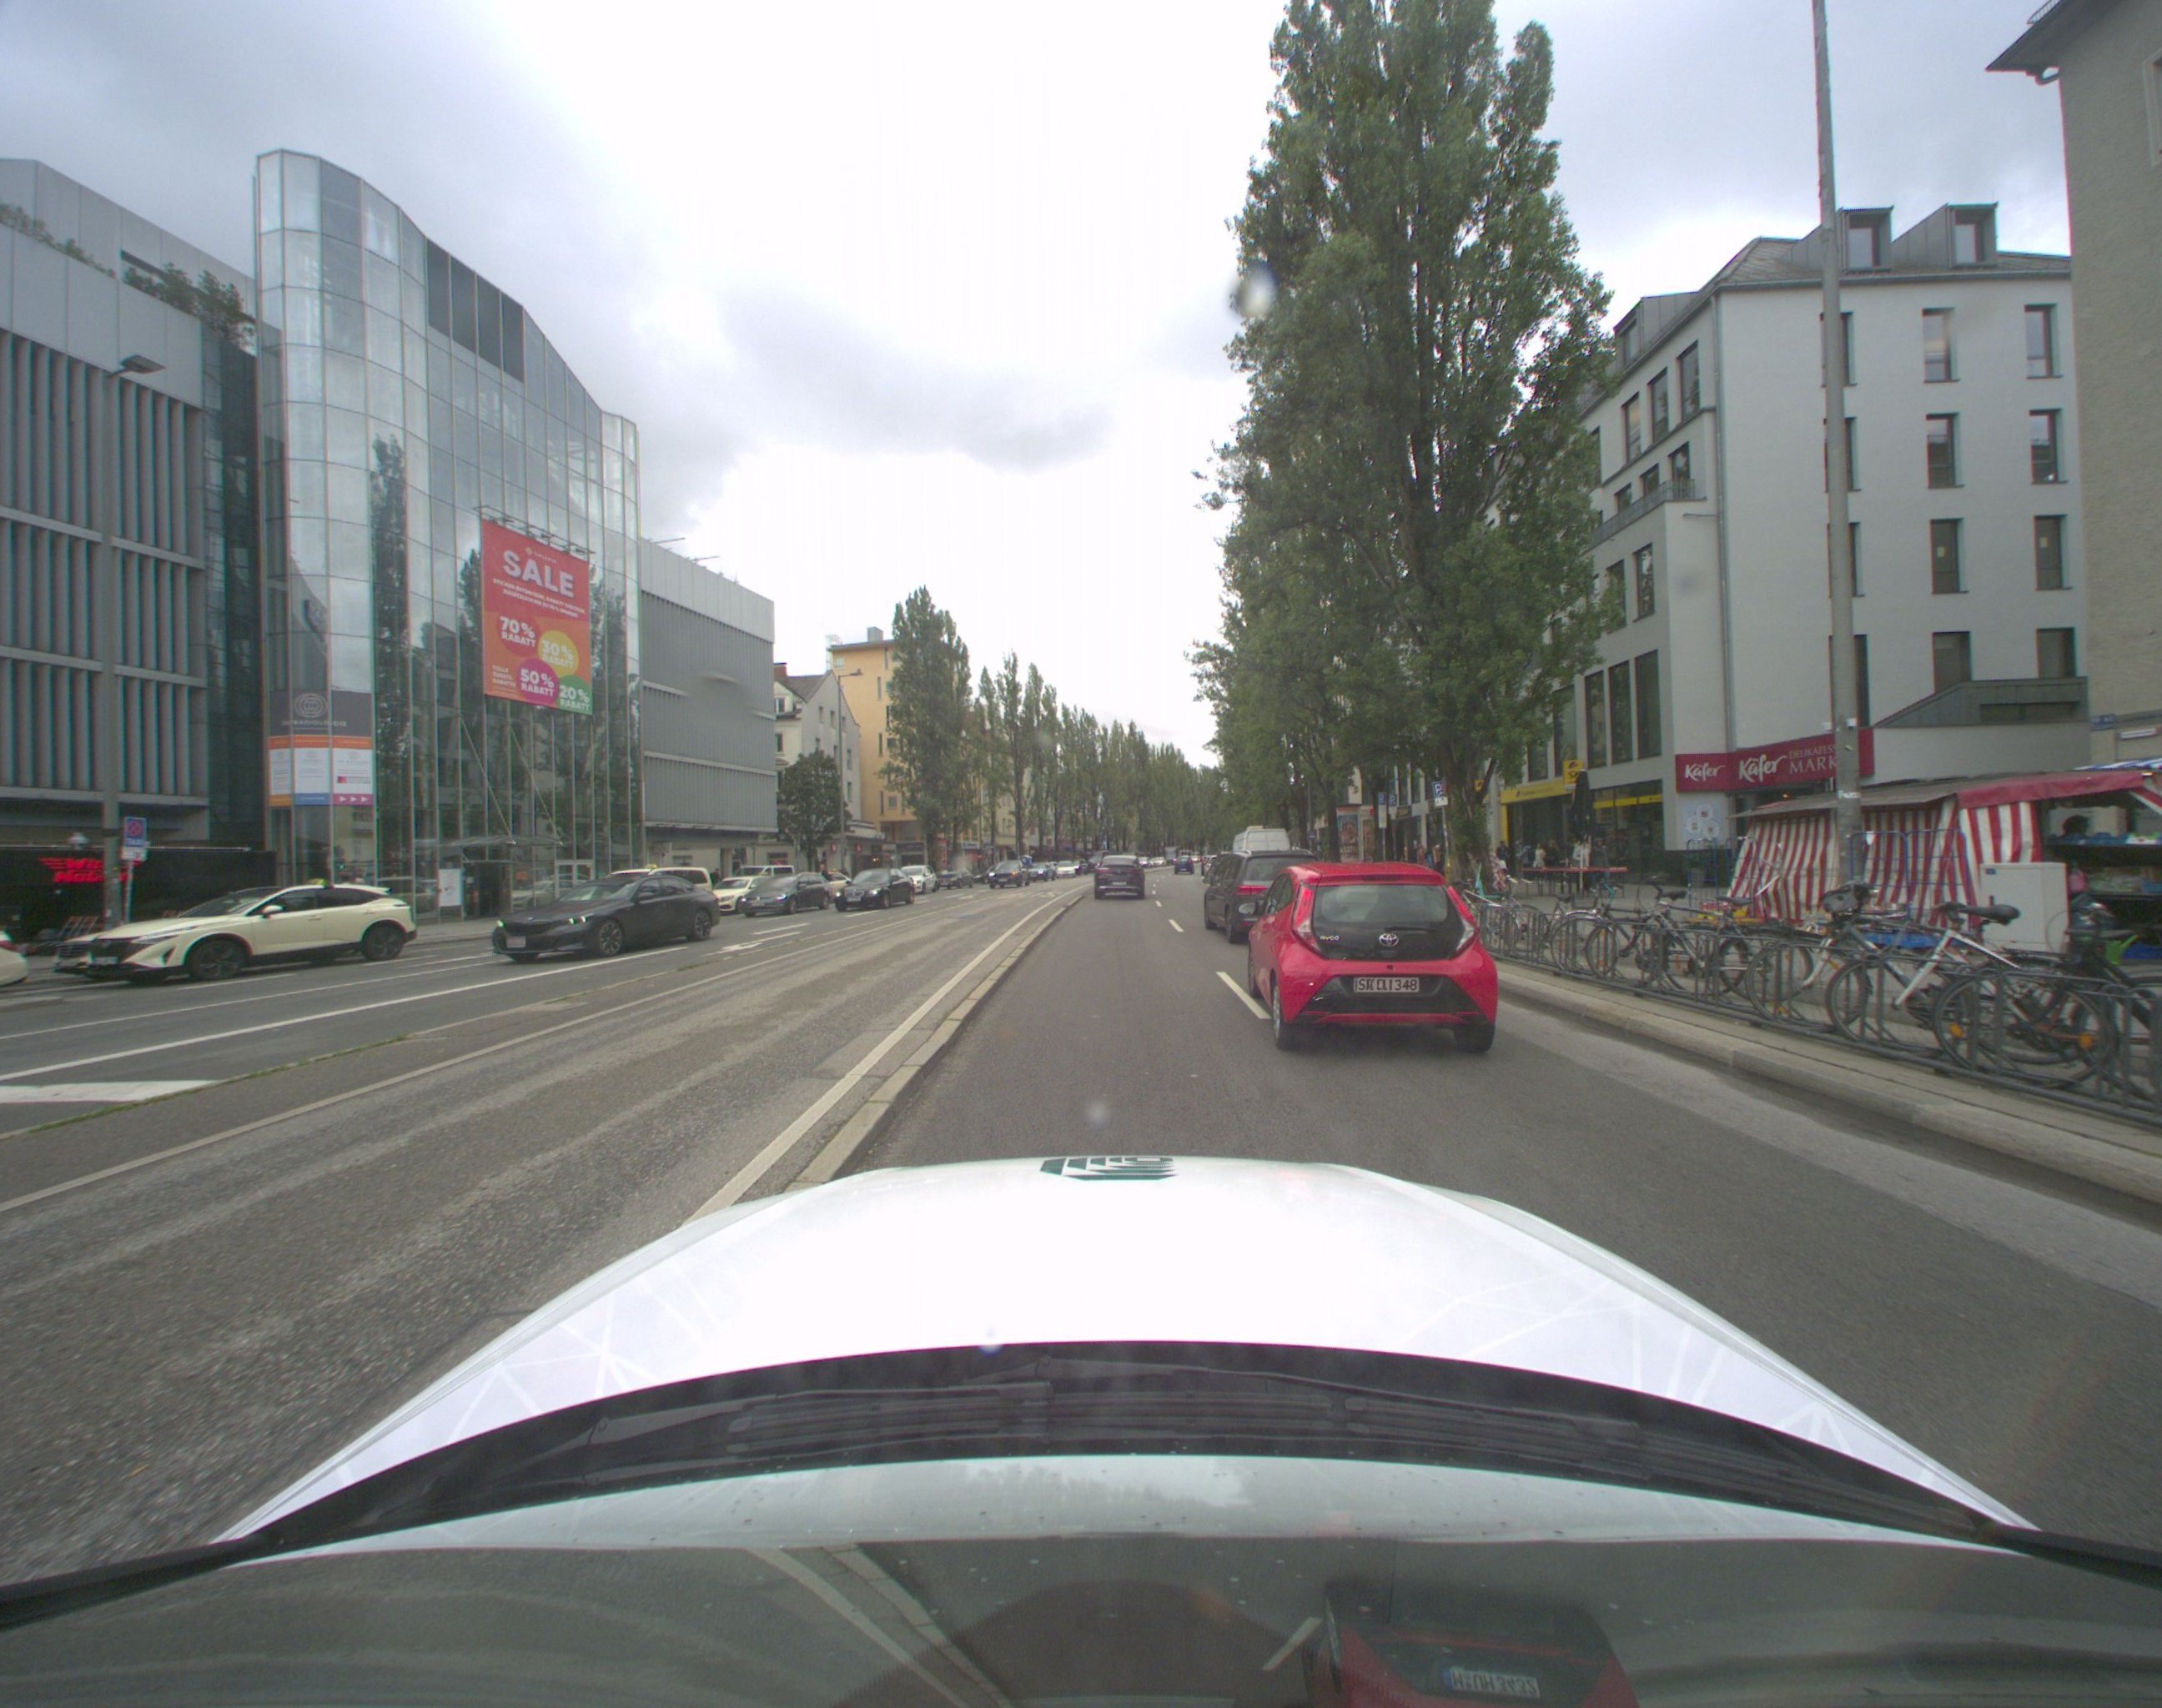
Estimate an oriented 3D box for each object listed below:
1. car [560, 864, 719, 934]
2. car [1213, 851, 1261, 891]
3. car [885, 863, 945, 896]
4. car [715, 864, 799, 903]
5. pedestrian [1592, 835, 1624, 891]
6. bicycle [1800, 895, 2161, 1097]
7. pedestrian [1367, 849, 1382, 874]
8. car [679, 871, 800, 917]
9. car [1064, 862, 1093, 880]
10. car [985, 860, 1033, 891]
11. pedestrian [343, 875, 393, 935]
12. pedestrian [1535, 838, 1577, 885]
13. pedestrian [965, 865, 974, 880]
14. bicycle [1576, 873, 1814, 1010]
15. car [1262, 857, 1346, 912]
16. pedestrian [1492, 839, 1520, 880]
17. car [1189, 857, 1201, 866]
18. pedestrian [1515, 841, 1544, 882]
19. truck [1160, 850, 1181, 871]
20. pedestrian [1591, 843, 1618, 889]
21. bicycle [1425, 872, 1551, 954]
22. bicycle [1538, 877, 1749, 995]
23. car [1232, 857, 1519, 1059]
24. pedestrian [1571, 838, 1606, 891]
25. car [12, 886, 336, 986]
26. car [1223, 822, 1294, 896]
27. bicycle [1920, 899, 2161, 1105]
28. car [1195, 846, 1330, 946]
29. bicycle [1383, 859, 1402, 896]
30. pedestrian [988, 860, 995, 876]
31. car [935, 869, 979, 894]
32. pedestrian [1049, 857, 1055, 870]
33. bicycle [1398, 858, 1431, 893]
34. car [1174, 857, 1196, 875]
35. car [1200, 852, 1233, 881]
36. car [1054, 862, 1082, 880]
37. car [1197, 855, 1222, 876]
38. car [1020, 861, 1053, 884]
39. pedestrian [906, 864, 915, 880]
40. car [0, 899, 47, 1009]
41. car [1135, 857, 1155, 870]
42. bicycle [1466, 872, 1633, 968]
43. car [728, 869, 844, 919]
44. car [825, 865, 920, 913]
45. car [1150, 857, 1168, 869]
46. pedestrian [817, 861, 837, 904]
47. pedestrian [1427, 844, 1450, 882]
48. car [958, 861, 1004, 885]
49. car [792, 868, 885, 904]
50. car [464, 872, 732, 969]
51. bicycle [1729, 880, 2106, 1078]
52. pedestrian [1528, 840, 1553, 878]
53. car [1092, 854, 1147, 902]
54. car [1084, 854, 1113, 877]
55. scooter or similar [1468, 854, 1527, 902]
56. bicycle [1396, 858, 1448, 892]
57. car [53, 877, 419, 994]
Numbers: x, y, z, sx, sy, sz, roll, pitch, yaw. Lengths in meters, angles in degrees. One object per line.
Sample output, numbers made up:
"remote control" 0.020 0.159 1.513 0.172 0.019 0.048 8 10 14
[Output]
"car" -14.547 1.402 27.294 1.984 2.014 5.329 -3 -1 5
"car" 7.513 0.809 39.539 1.919 1.805 4.788 0 0 7
"car" -9.000 1.372 44.519 1.984 1.600 4.296 -2 -1 6
"car" -18.605 1.658 47.103 1.981 2.013 5.127 -2 0 11
"pedestrian" 16.189 0.273 25.020 0.576 1.701 0.598 -3 -1 10
"bicycle" 5.731 0.830 5.113 1.780 1.010 0.388 3 1 45
"pedestrian" 18.788 0.466 52.173 0.565 1.576 0.672 -2 -1 -21
"car" -13.598 1.559 32.831 1.965 1.552 5.101 -2 -1 11
"car" -0.269 1.809 86.602 2.005 1.716 4.999 -2 -1 12
"car" -4.204 1.219 48.351 1.984 1.621 4.419 -3 -1 5
"pedestrian" -22.231 1.568 25.407 0.783 1.805 0.821 -2 -1 14
"pedestrian" 17.293 0.270 29.667 0.799 1.637 1.021 -2 -1 -7
"pedestrian" -12.088 1.990 88.117 0.629 1.561 0.819 -2 -1 16
"bicycle" 5.942 0.792 7.968 1.779 1.105 0.550 3 1 40
"car" 6.392 0.822 23.712 1.716 1.454 4.154 0 0 6
"pedestrian" 17.397 0.230 33.366 0.688 1.649 0.798 -2 -1 2
"car" 22.874 1.523 163.320 1.925 1.642 4.481 -3 -1 14
"pedestrian" 17.731 0.288 32.184 0.688 1.585 0.773 -2 -1 2
"truck" 14.966 1.111 135.759 2.274 3.323 7.185 -3 -1 14
"pedestrian" 16.984 0.389 26.417 0.641 1.476 0.764 -1 -2 40
"bicycle" 6.007 0.840 12.055 1.556 1.054 0.550 3 1 40
"bicycle" 5.912 0.818 8.640 1.779 1.054 0.369 3 1 40
"car" 2.450 0.781 7.690 1.657 1.446 3.600 0 -1 5
"pedestrian" 15.494 0.311 24.883 0.638 1.583 0.636 -3 -1 10
"car" -18.112 1.562 16.577 1.759 1.616 4.014 -2 -1 13
"car" 7.091 0.228 33.074 1.985 2.742 5.560 0 -1 4
"bicycle" 5.844 0.817 4.394 1.779 1.010 0.388 3 1 40
"car" 3.278 0.708 15.489 1.754 1.614 4.185 -1 0 2
"bicycle" 10.340 0.755 27.055 0.473 1.160 1.834 -1 0 18
"pedestrian" -10.278 1.597 93.451 0.535 1.747 0.758 -1 -1 15
"car" -7.968 1.772 52.727 1.721 1.409 4.694 -2 0 5
"pedestrian" -4.044 1.303 114.985 0.633 1.862 0.650 -2 -1 14
"bicycle" 11.335 0.715 27.718 0.475 1.160 1.634 -1 0 3
"car" 9.540 1.108 74.518 1.748 1.619 3.758 -1 -1 11
"car" 8.492 0.777 51.360 1.718 1.686 4.415 -1 0 6
"car" -1.217 1.638 77.941 1.942 1.589 4.010 -2 -1 8
"car" 10.696 0.949 67.445 1.912 1.700 4.663 -1 -1 11
"car" -3.406 1.388 63.007 1.808 1.545 4.006 -4 -1 5
"pedestrian" -16.089 1.681 76.882 0.630 1.435 0.778 -2 -1 1
"car" -16.771 1.474 9.861 1.933 1.541 4.863 -2 0 12
"car" 8.682 1.243 110.044 1.896 1.603 4.371 -2 -1 13
"bicycle" 6.058 0.815 10.596 1.779 1.054 0.550 3 1 40
"car" -10.789 1.404 30.246 1.949 1.546 4.958 -3 0 7
"car" -7.587 1.228 30.143 1.827 1.487 4.741 -2 0 5
"car" 11.804 1.355 123.020 1.980 1.589 5.213 -4 -1 12
"pedestrian" -11.471 1.283 36.770 0.789 1.867 0.840 -2 -1 -22
"pedestrian" 16.388 0.405 37.287 0.712 1.724 0.744 -3 -1 39
"car" -7.974 1.517 65.390 1.740 1.816 4.023 -1 -1 27
"car" -11.834 1.530 40.148 1.842 1.469 5.003 -4 -1 16
"car" -9.468 1.208 16.626 1.983 1.508 5.031 -2 0 7
"bicycle" 5.769 0.795 5.786 1.779 1.105 0.550 3 1 40
"pedestrian" 19.288 0.207 34.191 0.758 1.535 0.712 -3 -1 20
"car" 1.472 0.856 31.093 1.873 1.642 4.586 -2 0 3
"car" 2.181 1.373 98.265 2.154 2.605 6.086 -2 -1 14
"scooter or similar" 11.029 0.628 21.565 1.468 1.207 0.398 -2 -1 -17
"bicycle" 12.102 0.735 28.969 1.616 1.160 0.708 -1 0 15
"car" -15.525 1.397 15.387 1.872 1.698 4.398 -3 -1 13
